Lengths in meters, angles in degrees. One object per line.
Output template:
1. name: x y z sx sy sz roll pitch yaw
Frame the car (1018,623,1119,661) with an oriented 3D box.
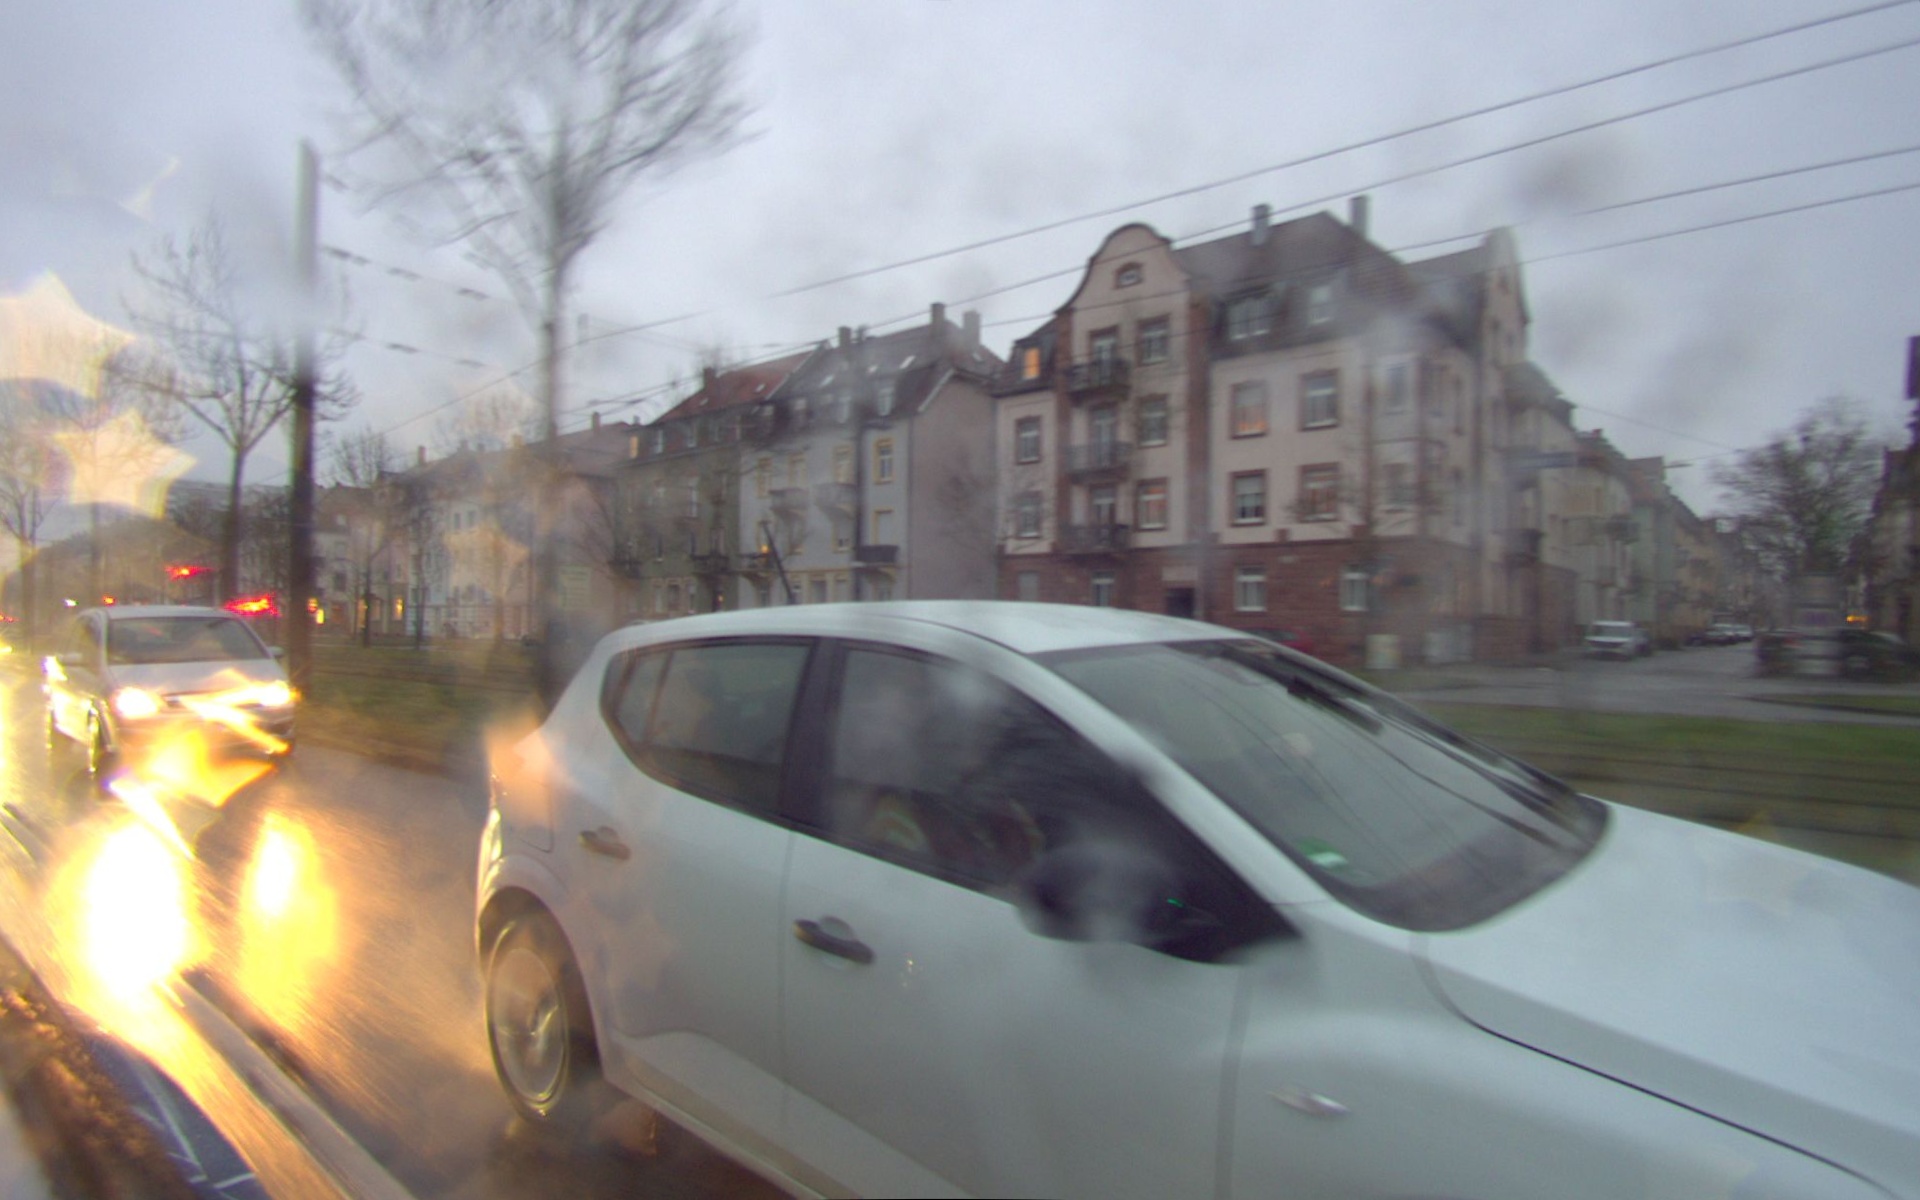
1. car: 3.583 1.366 33.653 2.870 0.997 1.800 -3 2 -14

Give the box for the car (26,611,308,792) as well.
1. car: -8.453 0.904 10.670 3.905 1.531 1.617 -1 0 41

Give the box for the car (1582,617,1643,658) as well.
1. car: 29.831 1.669 46.251 1.803 1.721 3.656 -1 0 42

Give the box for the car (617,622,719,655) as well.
1. car: -13.927 1.818 48.474 4.586 1.442 1.699 -1 0 -13

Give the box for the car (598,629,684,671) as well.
1. car: -12.632 1.936 39.988 3.782 1.515 1.529 -1 0 42

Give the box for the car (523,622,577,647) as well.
1. car: -24.597 2.048 60.656 3.910 1.350 1.449 -1 0 43

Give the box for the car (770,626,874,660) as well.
1. car: -5.781 1.783 42.399 4.198 1.267 1.837 -1 0 -9

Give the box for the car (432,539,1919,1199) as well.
1. car: 0.460 0.689 2.394 3.998 1.485 1.671 -1 0 41

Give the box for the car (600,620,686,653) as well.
1. car: -15.940 1.832 51.000 3.888 1.459 1.823 -1 0 -9

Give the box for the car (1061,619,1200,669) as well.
1. car: 5.240 1.336 31.264 3.977 1.239 1.352 -3 2 -13

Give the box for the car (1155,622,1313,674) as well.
1. car: 7.936 1.367 29.442 4.039 1.169 1.716 -2 2 -10

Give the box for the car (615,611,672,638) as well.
1. car: -19.178 1.481 61.265 3.536 1.563 1.662 -1 0 41
